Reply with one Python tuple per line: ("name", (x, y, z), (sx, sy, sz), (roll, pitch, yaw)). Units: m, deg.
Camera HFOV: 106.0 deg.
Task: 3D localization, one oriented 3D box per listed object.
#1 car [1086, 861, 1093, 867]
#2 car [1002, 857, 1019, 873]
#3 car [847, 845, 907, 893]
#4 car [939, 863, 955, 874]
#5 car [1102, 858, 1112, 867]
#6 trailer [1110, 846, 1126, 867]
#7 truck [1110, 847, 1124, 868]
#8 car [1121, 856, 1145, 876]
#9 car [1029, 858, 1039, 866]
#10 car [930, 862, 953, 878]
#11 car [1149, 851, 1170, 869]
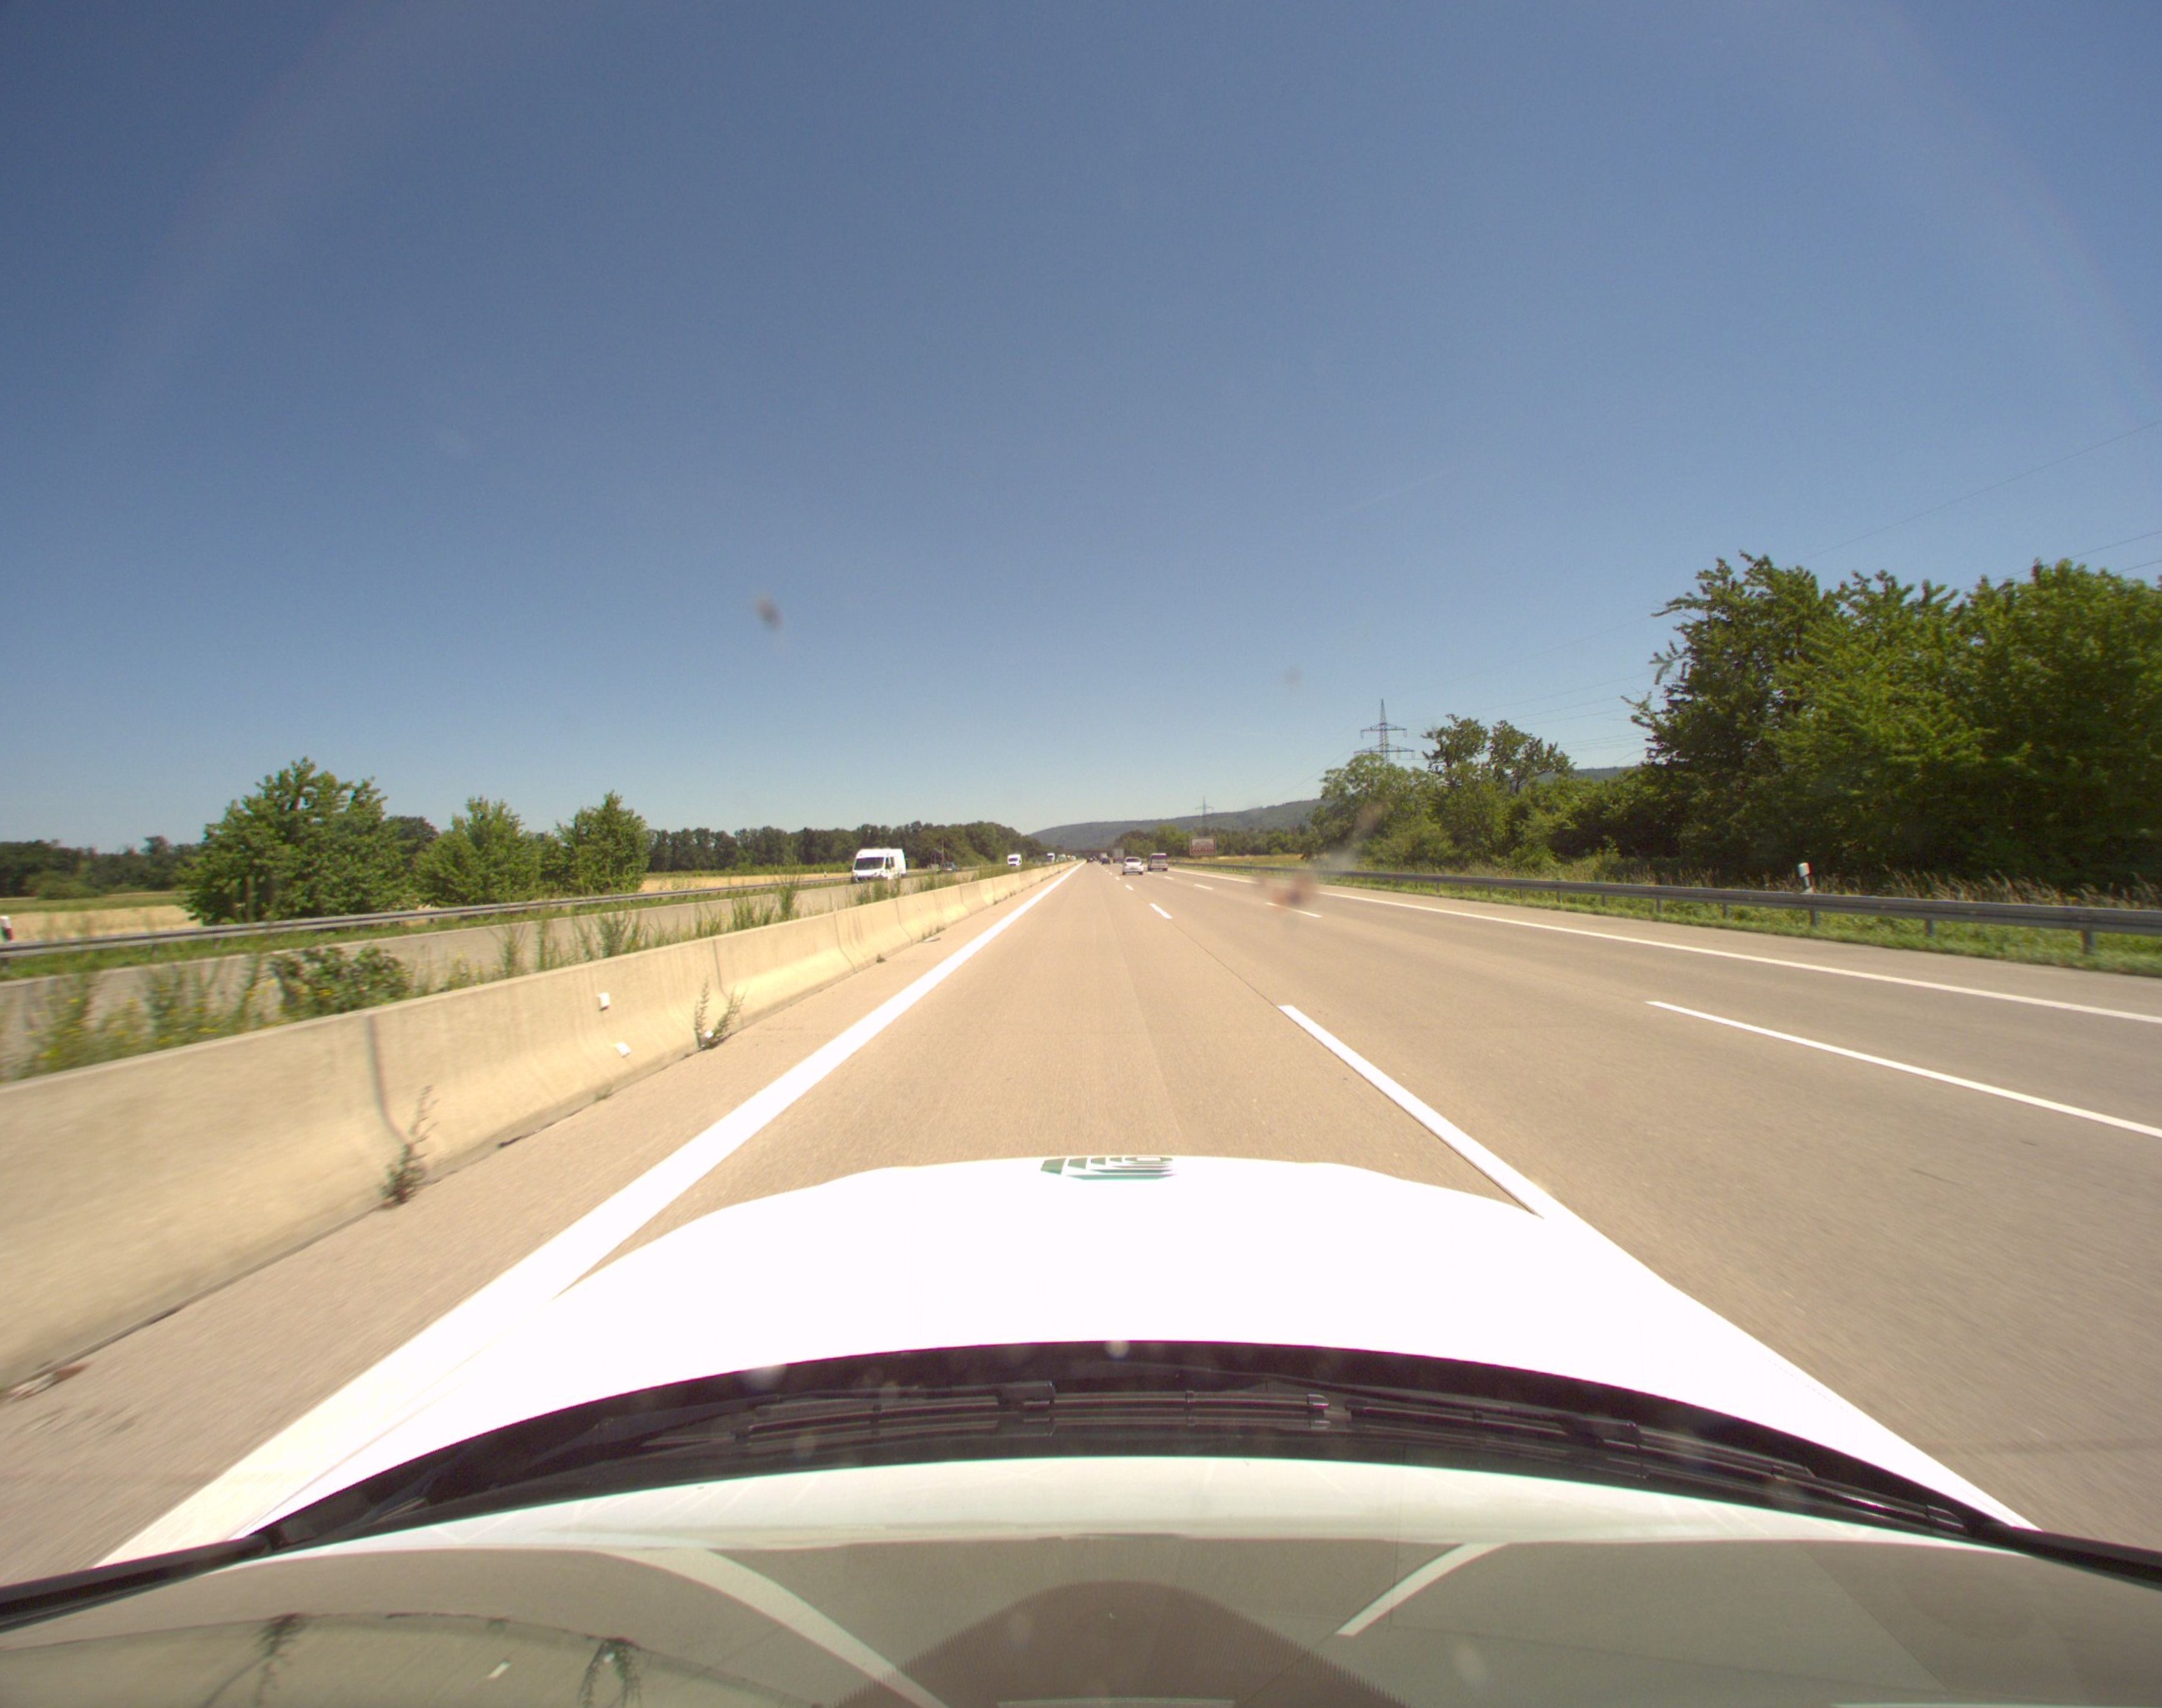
("car", (2.449, 2.832, 235.967), (1.923, 1.794, 3.999), (0, 0, 0))
("car", (-11.823, 1.837, 136.166), (2.205, 2.520, 6.124), (0, 0, 1))
("car", (-12.418, 0.868, 50.176), (2.258, 2.788, 7.062), (0, 0, -3))
("car", (-21.937, 2.339, 133.689), (1.988, 1.783, 3.998), (0, 0, -1))
("car", (5.551, 1.786, 173.899), (1.988, 1.849, 3.998), (2, 0, -1))
("trailer", (10.191, 0.705, 224.216), (3.710, 5.811, 12.156), (0, 0, -1))
("truck", (10.150, 0.912, 230.664), (3.710, 5.811, 7.050), (0, 0, -1))
("car", (4.505, 0.980, 70.520), (1.813, 1.662, 3.999), (-1, 0, 0))
("car", (-11.227, 1.804, 194.314), (1.986, 1.915, 4.404), (0, 0, 2))
("car", (-15.458, 1.776, 90.527), (1.748, 1.684, 4.840), (0, 0, -1))
("car", (8.459, 0.654, 88.066), (1.987, 1.849, 3.999), (0, 0, 0))
